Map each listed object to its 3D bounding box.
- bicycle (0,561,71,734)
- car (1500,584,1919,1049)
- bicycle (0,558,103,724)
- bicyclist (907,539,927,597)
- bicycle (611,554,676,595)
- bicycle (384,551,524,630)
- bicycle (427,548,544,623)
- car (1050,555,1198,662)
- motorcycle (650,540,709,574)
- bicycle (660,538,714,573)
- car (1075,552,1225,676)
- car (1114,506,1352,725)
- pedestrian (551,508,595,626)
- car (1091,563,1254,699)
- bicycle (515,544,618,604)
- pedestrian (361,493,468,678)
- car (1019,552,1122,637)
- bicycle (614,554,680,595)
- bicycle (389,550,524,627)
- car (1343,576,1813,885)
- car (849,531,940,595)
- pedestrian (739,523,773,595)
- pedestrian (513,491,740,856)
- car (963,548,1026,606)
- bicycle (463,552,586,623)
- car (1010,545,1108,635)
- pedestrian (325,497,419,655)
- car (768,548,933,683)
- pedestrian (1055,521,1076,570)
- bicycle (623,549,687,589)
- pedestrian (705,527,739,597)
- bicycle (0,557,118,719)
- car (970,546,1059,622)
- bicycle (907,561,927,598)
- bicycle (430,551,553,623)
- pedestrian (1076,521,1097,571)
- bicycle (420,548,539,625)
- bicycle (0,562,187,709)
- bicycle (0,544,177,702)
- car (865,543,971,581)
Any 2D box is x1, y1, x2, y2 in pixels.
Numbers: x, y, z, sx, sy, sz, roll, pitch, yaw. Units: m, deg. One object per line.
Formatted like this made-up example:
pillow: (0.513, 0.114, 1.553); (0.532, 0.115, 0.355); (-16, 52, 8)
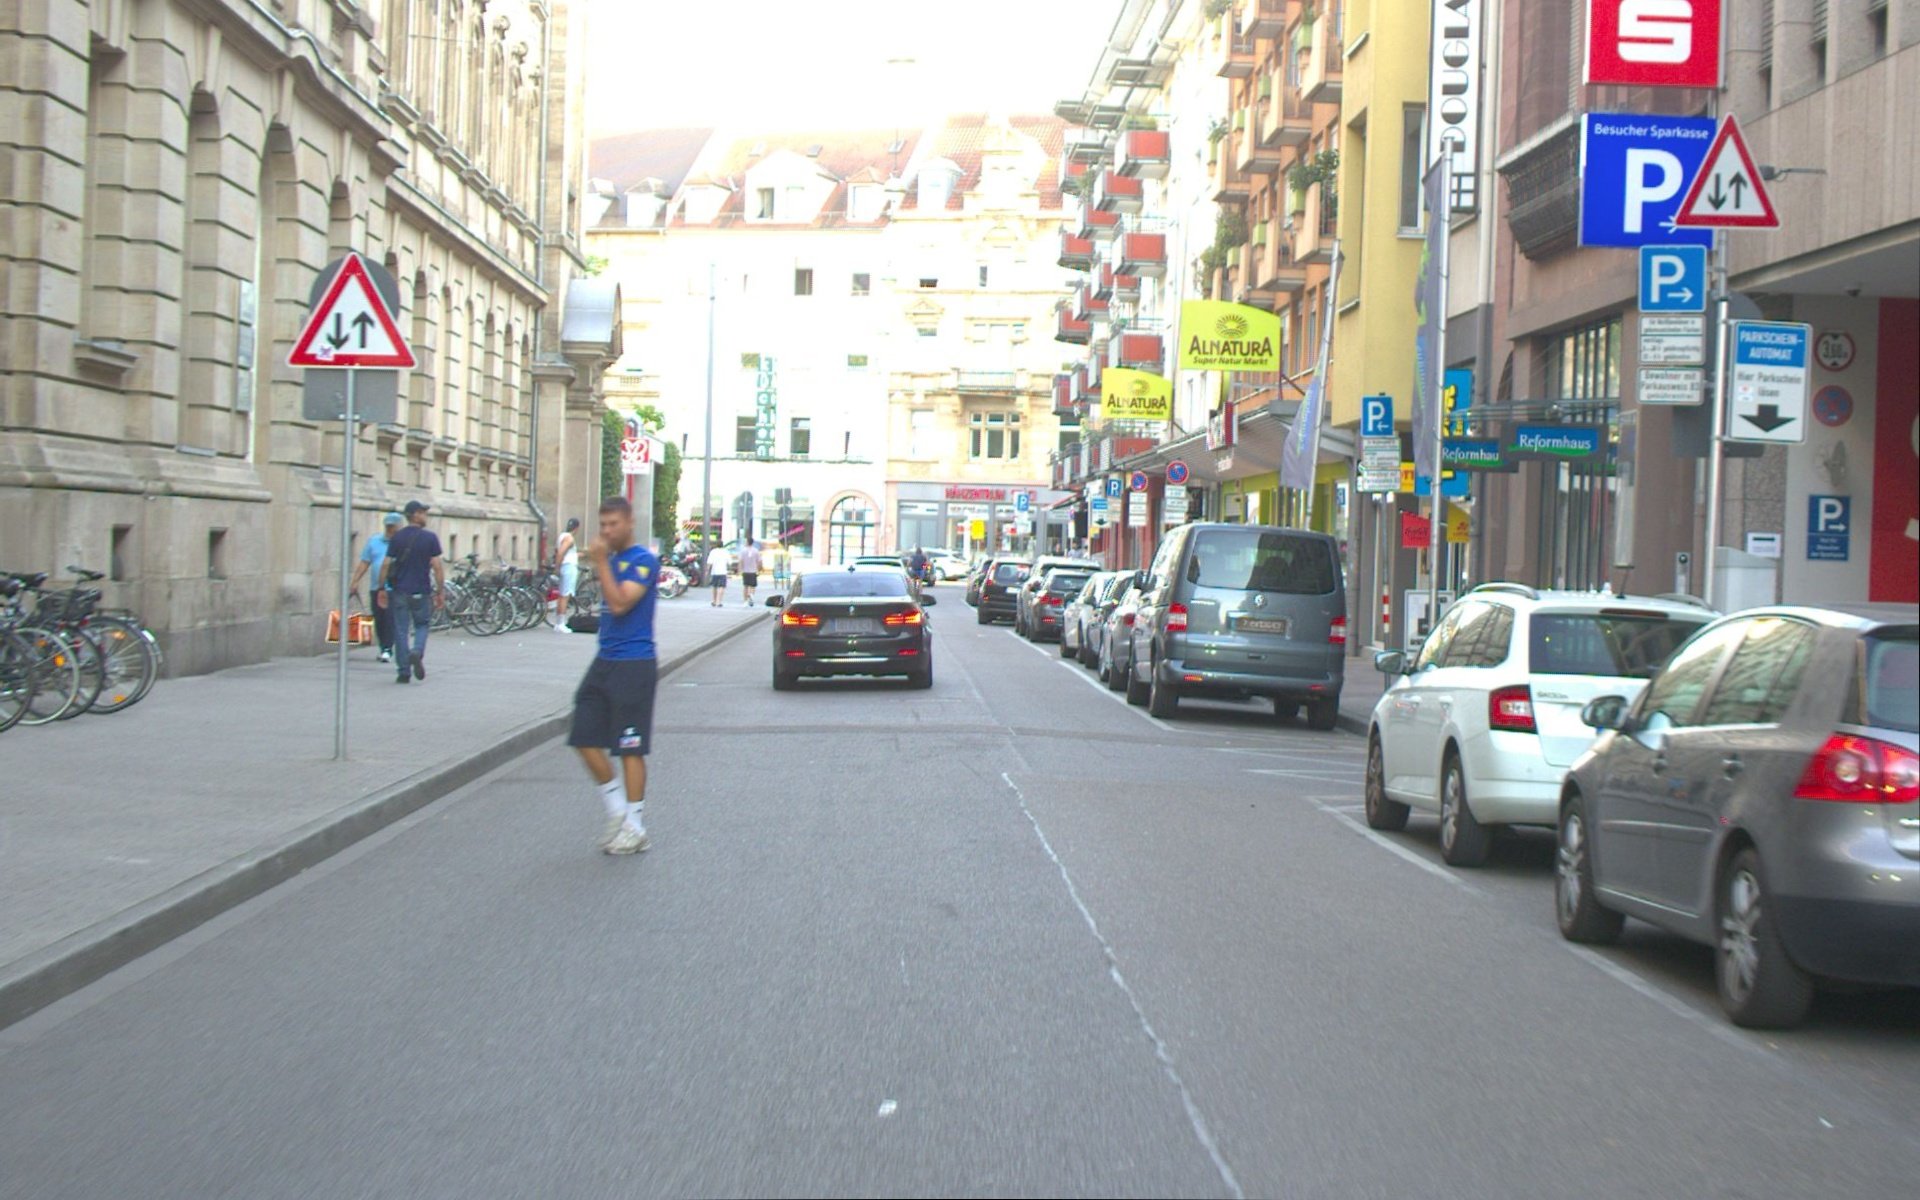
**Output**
bicycle: (-6.785, 0.251, 22.100); (1.936, 1.074, 0.730); (4, 0, -8)
car: (3.389, 0.712, 13.216); (1.656, 1.443, 4.446); (3, 0, -3)
bicycle: (-6.899, 0.232, 23.415); (1.936, 1.074, 0.730); (4, 0, -8)
bicyclist: (-1.313, -0.989, 105.755); (0.523, 1.750, 0.620); (2, 1, 0)
bicycle: (-9.106, -0.741, 98.863); (1.794, 1.104, 0.500); (2, 1, -2)
bicycle: (-7.458, -0.145, 50.724); (1.937, 1.058, 0.620); (3, 0, -2)
bicycle: (-7.641, -0.230, 55.389); (1.794, 1.104, 0.500); (3, 0, -7)
car: (2.503, 0.099, 53.488); (1.691, 1.406, 4.640); (4, 1, -4)
motorcycle: (-9.460, -1.451, 115.883); (1.802, 1.060, 0.763); (3, 1, 25)
bicycle: (-9.412, -1.530, 118.590); (1.794, 1.104, 0.500); (3, 1, -6)
car: (2.618, 0.161, 48.317); (1.618, 1.511, 4.174); (4, 1, -2)
car: (2.777, 0.132, 36.112); (1.846, 2.051, 5.054); (3, 0, -2)
pedestrian: (-6.243, -0.535, 55.446); (0.588, 1.845, 0.754); (4, 1, -7)
car: (2.617, 0.344, 43.205); (1.687, 1.448, 4.498); (4, 1, 0)
bicycle: (-8.020, -0.527, 70.106); (1.936, 1.058, 0.620); (5, 0, -16)
pedestrian: (-5.327, -0.140, 33.608); (0.809, 1.744, 0.969); (3, 0, -1)
car: (2.092, -0.136, 66.335); (1.691, 1.410, 4.757); (4, 1, -1)
bicycle: (-8.970, -0.734, 98.519); (1.794, 1.104, 0.500); (2, 1, -1)
bicycle: (-7.604, -0.176, 51.970); (1.937, 1.058, 0.620); (3, 0, -7)
car: (3.304, 0.632, 19.189); (1.656, 1.443, 4.308); (3, 0, -2)
car: (-1.538, -0.906, 82.208); (1.877, 1.468, 4.000); (1, 1, 3)
pedestrian: (-5.436, -1.100, 91.707); (0.744, 1.887, 1.050); (3, 1, 0)
pedestrian: (-1.683, 0.349, 17.344); (0.818, 1.782, 0.778); (0, 1, -43)
car: (1.088, -0.754, 110.031); (1.765, 1.636, 4.791); (4, 1, -1)
bicycle: (-7.244, -0.205, 57.252); (1.937, 1.058, 0.620); (3, 0, -3)
car: (2.018, -0.240, 71.303); (1.752, 1.662, 4.757); (4, 1, -1)
pedestrian: (-6.709, -0.276, 39.249); (0.828, 1.740, 0.769); (4, 1, -1)
car: (-1.230, 0.132, 40.246); (1.765, 1.370, 4.791); (2, 1, -1)
pedestrian: (3.584, -1.852, 116.682); (0.648, 1.655, 0.655); (-1, 1, 1)
bicycle: (-8.964, -0.921, 101.039); (1.794, 1.104, 0.500); (3, 1, 2)
pedestrian: (-6.327, -1.009, 91.413); (0.741, 1.806, 1.009); (4, 1, -2)
bicycle: (-6.985, 0.224, 24.185); (1.936, 1.074, 0.730); (4, 0, -8)
car: (1.310, -0.394, 80.442); (1.794, 1.604, 4.486); (4, 1, 3)
bicycle: (-1.327, -0.637, 105.782); (0.536, 1.104, 1.800); (2, 1, 0)
bicycle: (-7.652, -0.213, 56.204); (1.937, 1.058, 0.620); (3, 0, -7)
pedestrian: (4.290, -1.837, 116.795); (0.648, 1.655, 0.794); (-1, 1, 1)
bicycle: (-7.562, -0.213, 54.190); (1.794, 1.104, 0.500); (3, 0, -7)
bicycle: (-6.981, 0.255, 26.372); (1.935, 1.042, 0.722); (3, 1, -5)
bicycle: (-6.879, 0.143, 25.452); (1.937, 1.074, 0.748); (4, 0, -2)
car: (-1.875, -1.705, 154.076); (4.356, 1.557, 1.866); (2, 0, 22)
